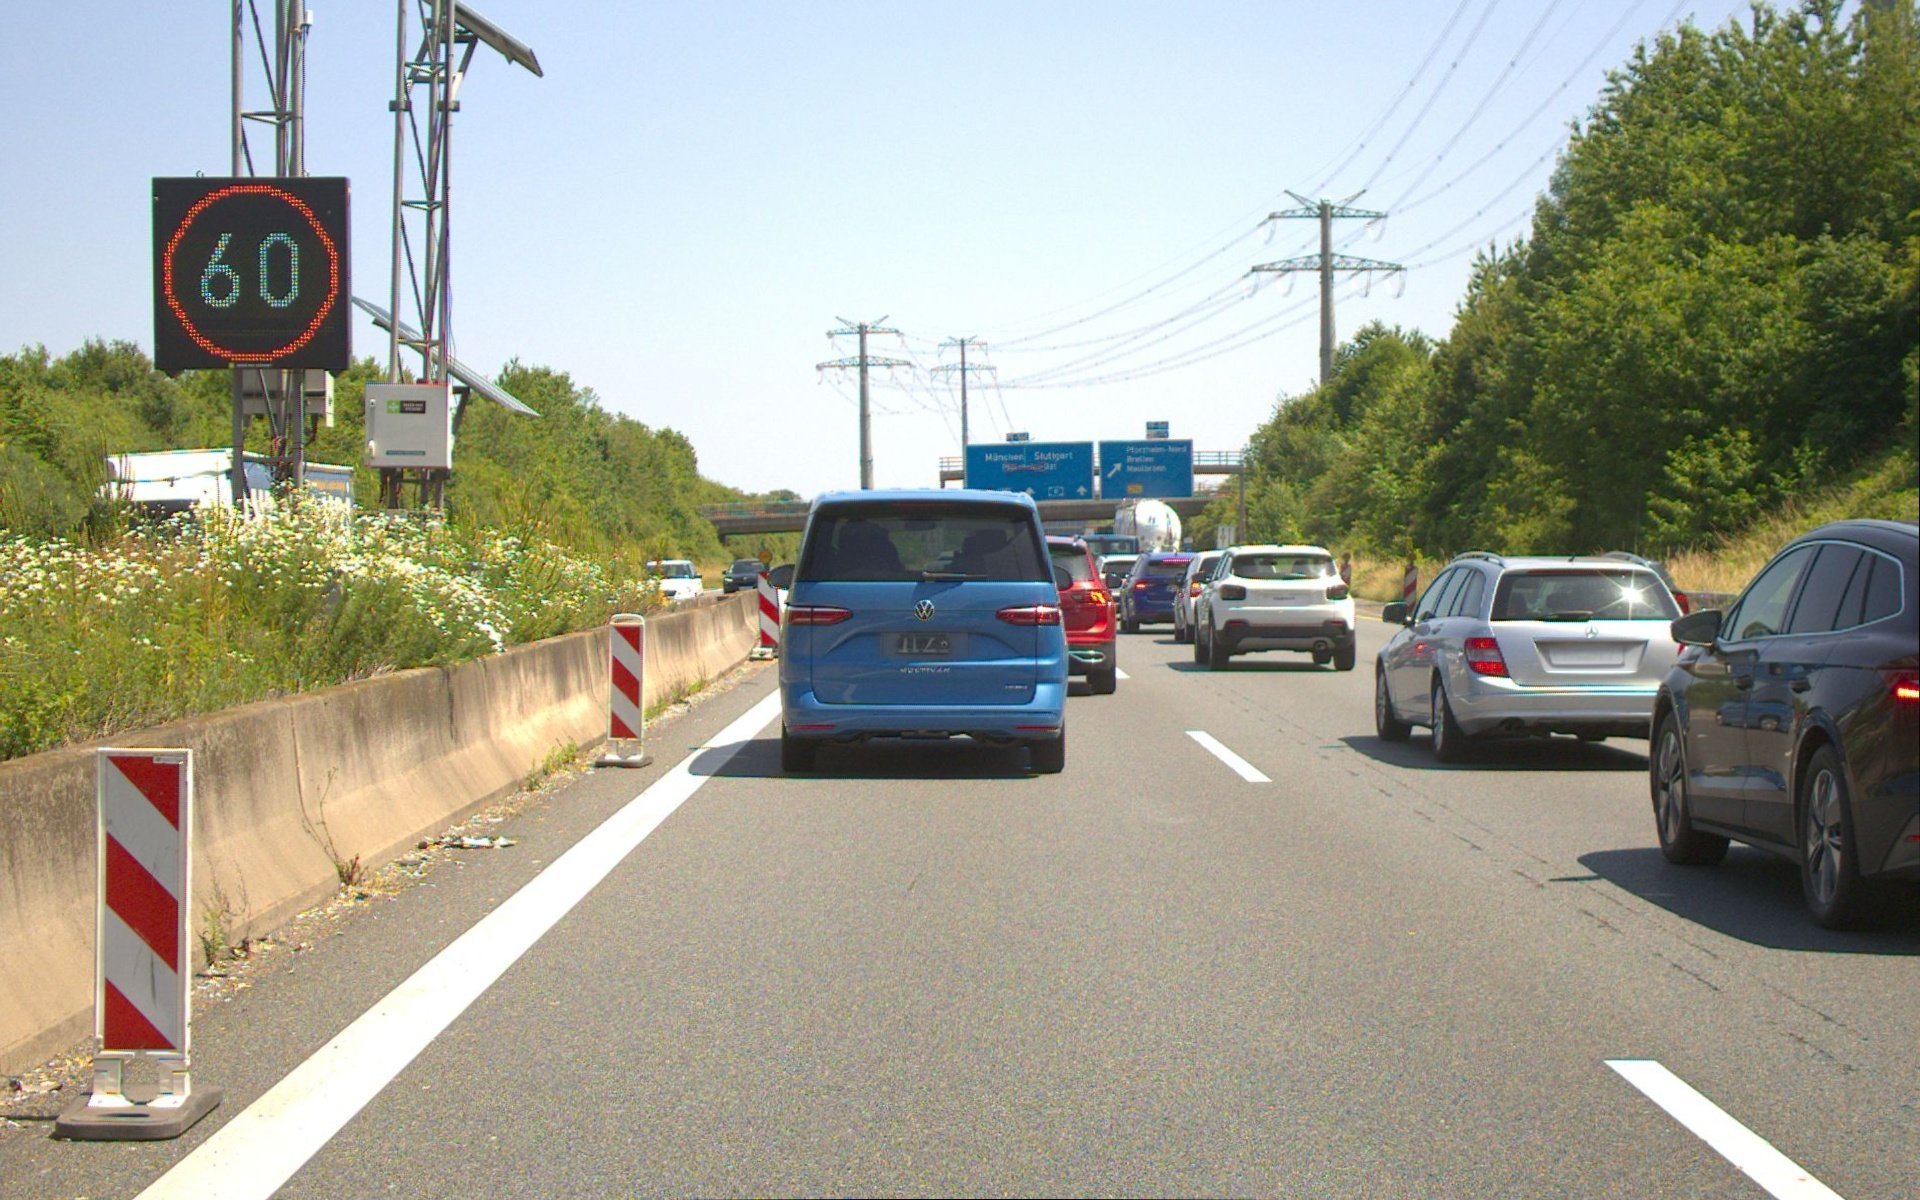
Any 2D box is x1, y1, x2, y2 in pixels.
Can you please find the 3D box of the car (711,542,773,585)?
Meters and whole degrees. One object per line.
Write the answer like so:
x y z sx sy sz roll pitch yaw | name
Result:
-8.214 -1.391 129.901 1.993 1.540 4.912 -1 1 0 | car

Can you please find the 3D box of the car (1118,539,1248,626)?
4.035 -0.352 62.756 1.908 1.511 4.384 1 1 -2 | car

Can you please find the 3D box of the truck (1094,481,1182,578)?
7.818 -3.107 152.698 2.644 4.058 16.442 1 1 -1 | truck

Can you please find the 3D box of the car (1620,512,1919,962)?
4.171 0.445 14.526 1.828 1.609 4.431 0 1 -1 | car

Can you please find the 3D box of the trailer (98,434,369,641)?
-15.828 -1.376 76.132 2.961 4.043 13.596 -2 1 0 | trailer

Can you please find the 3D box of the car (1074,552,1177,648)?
3.592 -0.032 75.044 1.993 2.007 4.000 1 1 0 | car

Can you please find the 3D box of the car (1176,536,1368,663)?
3.881 -0.045 43.342 1.908 1.502 3.922 1 1 -2 | car

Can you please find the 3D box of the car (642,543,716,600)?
-7.355 -0.770 90.193 1.584 1.438 4.000 1 1 0 | car

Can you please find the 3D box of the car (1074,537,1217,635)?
2.969 -0.257 55.811 1.908 1.511 4.384 1 1 -2 | car

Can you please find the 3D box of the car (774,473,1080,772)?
-0.327 0.107 24.052 1.870 1.872 4.384 1 1 -4 | car

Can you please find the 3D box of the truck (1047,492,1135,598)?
3.464 -1.475 91.901 1.993 2.714 5.680 1 1 -1 | truck

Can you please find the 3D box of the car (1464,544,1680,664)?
7.466 0.010 42.322 1.734 1.373 4.303 1 1 -2 | car

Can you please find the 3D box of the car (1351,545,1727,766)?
4.082 0.331 24.928 1.821 1.432 4.384 1 1 -2 | car

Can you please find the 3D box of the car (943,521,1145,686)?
0.822 -0.001 36.193 1.908 1.625 4.384 0 1 -1 | car

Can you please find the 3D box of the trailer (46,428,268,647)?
-15.822 -1.232 68.141 2.961 4.043 5.434 -2 1 0 | trailer
